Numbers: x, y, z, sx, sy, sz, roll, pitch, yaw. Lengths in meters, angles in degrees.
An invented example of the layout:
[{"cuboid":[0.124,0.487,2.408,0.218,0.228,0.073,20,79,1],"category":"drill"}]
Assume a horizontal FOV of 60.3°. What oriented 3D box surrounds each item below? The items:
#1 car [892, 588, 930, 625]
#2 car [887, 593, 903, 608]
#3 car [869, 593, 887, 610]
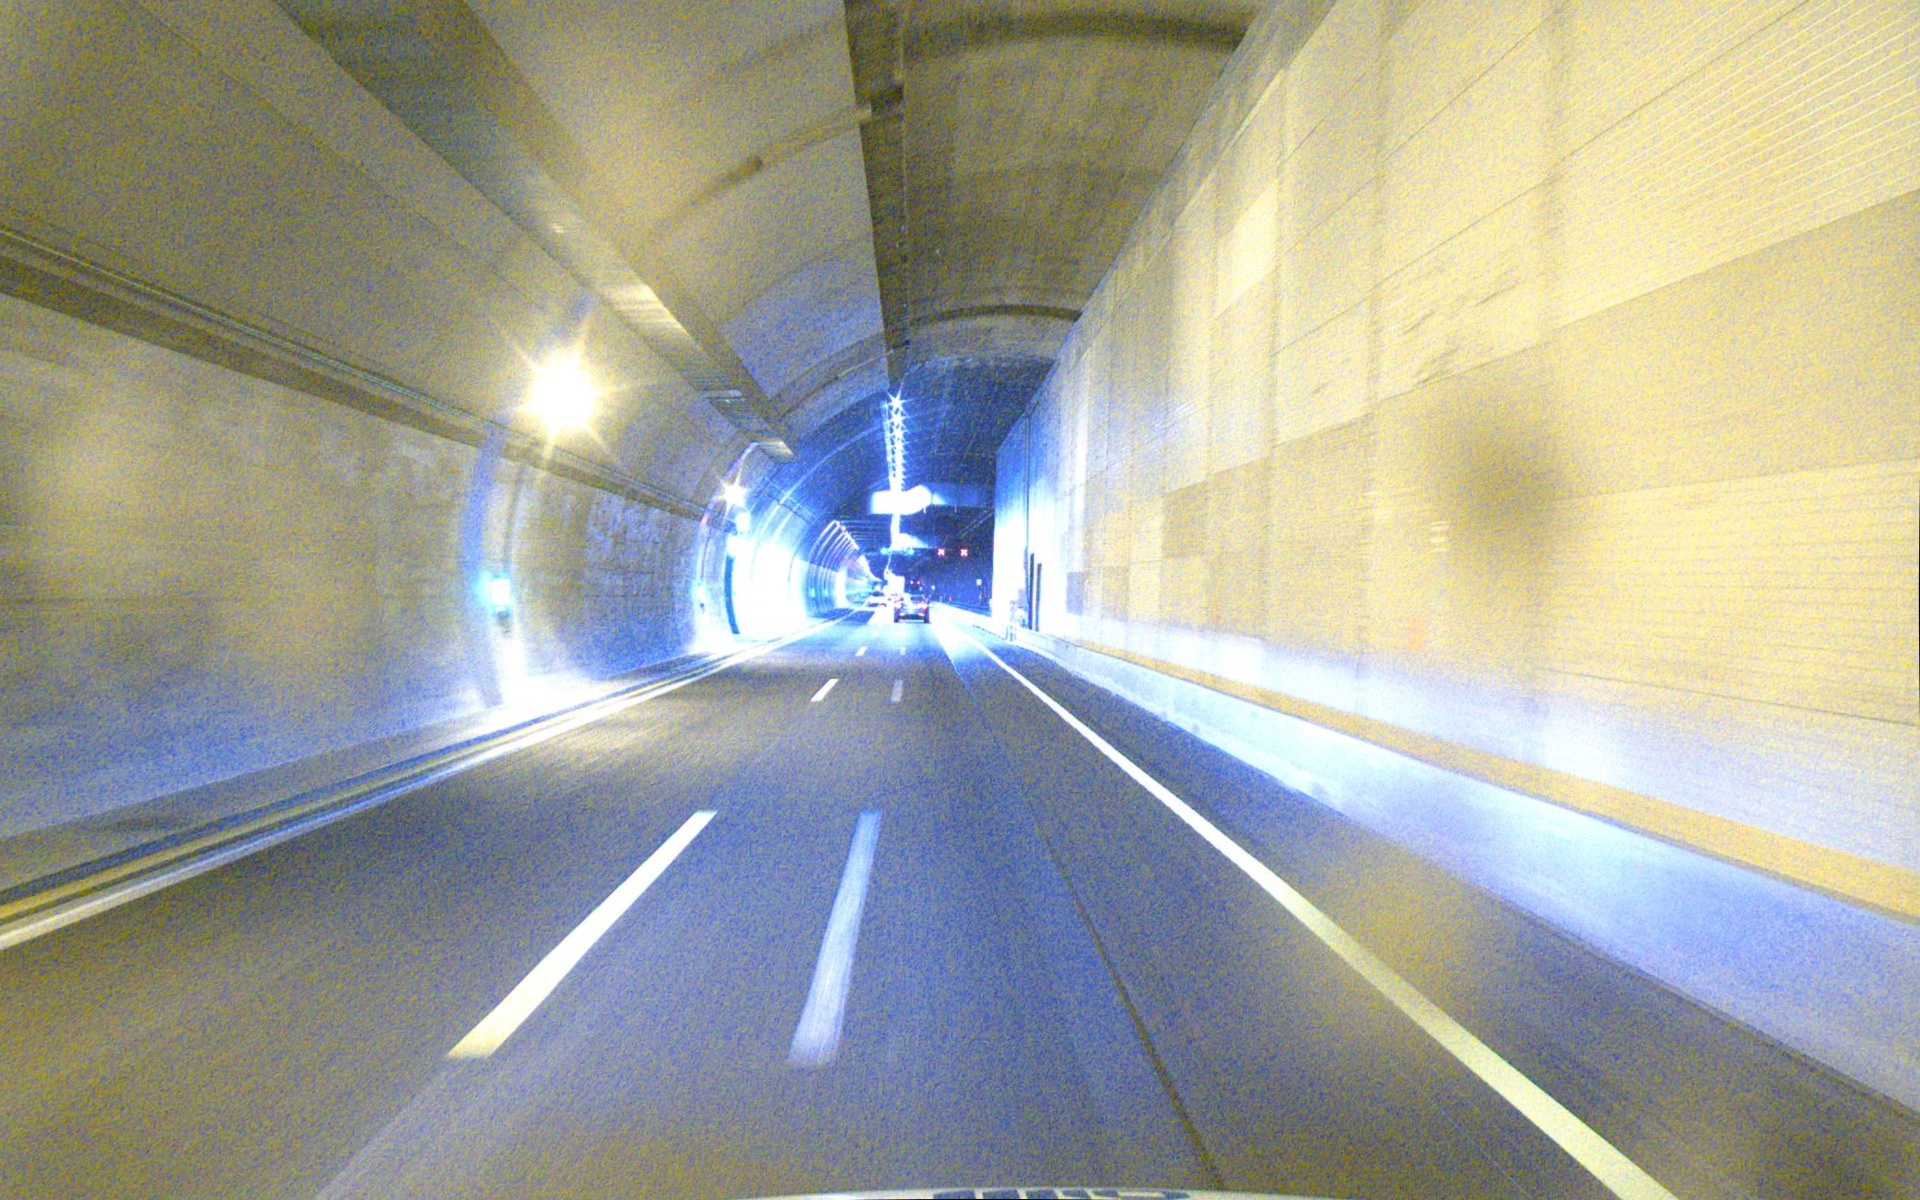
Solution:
[{"cuboid":[-2.531,0.310,85.731,1.907,1.826,3.999,0,0,-2],"category":"car"},{"cuboid":[-7.442,0.082,189.449,1.891,1.716,3.998,0,0,-2],"category":"car"},{"cuboid":[-8.564,0.114,172.538,1.892,1.716,3.998,0,0,-3],"category":"car"}]
